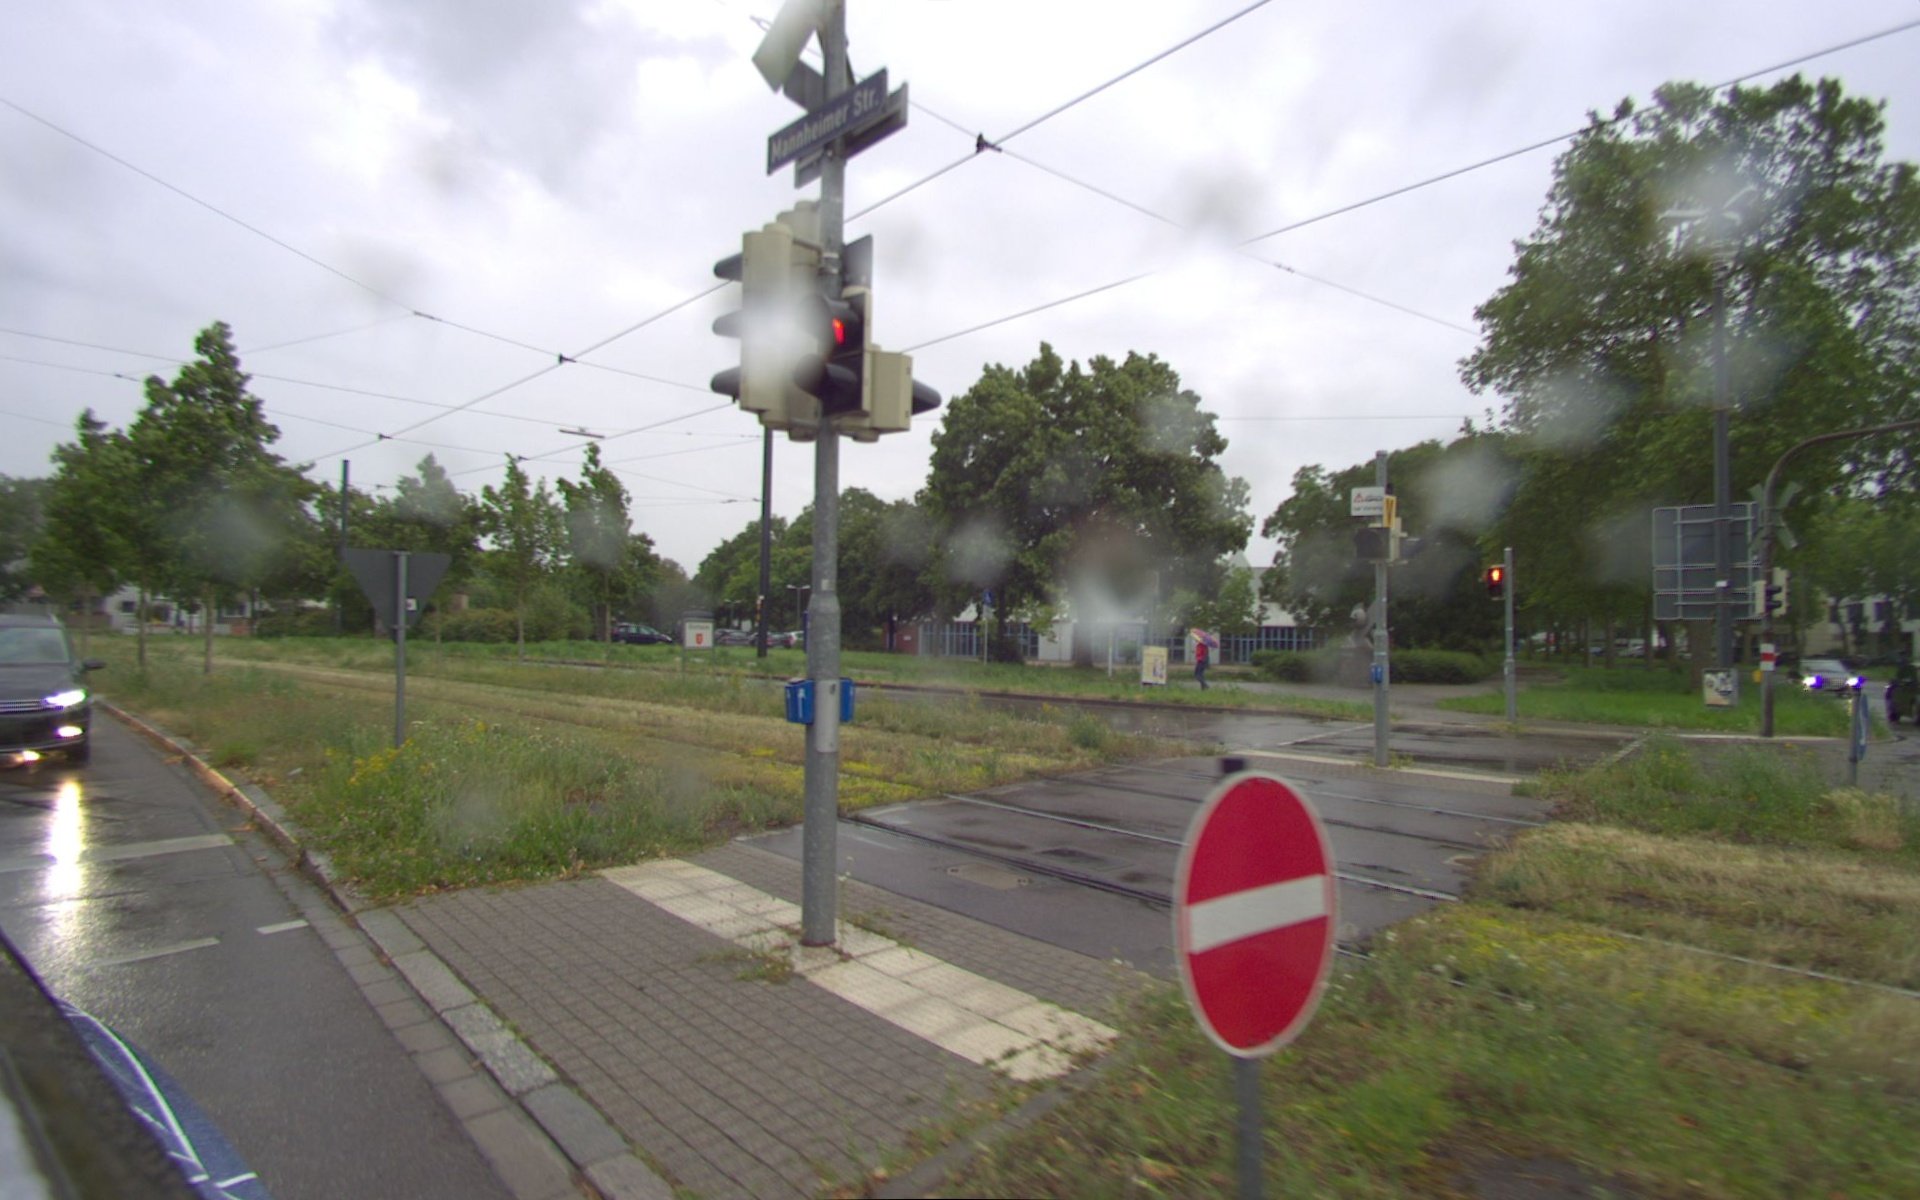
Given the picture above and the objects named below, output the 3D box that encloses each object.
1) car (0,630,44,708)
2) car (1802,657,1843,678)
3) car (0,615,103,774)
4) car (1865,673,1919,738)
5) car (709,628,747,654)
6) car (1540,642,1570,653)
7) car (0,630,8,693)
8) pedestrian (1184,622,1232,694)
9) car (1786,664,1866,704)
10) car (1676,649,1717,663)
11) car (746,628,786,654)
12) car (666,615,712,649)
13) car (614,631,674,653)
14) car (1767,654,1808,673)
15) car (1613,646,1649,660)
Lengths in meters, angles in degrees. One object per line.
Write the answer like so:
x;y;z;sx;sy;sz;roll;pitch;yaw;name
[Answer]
-18.988;1.286;19.444;3.999;1.373;1.764;-1;-2;44;car
81.240;6.314;95.388;1.990;1.796;3.964;-1;-1;26;car
-11.386;0.990;11.809;1.839;1.613;4.529;1;-2;-44;car
22.884;2.415;23.467;1.797;1.412;4.271;-2;-4;28;car
-14.713;2.572;64.117;1.726;1.542;4.864;0;-1;-20;car
104.441;8.333;177.705;3.956;1.834;1.993;0;-1;10;car
-23.735;1.411;23.584;3.790;1.414;1.766;-1;-2;39;car
7.075;1.636;28.898;1.008;2.006;0.940;-1;-2;42;pedestrian
33.668;3.247;39.438;1.800;1.417;4.408;-1;-4;33;car
94.669;7.201;130.099;3.844;1.663;1.879;0;-1;15;car
-12.455;2.577;64.738;2.027;1.585;5.030;0;-1;-16;car
-16.783;1.956;62.549;2.273;2.029;5.134;0;-1;-20;car
-22.848;3.016;73.202;4.111;1.494;1.788;0;-1;-17;car
83.497;6.393;102.197;1.986;1.796;3.971;0;-1;21;car
98.190;7.743;148.147;3.952;1.845;1.996;0;-1;7;car
